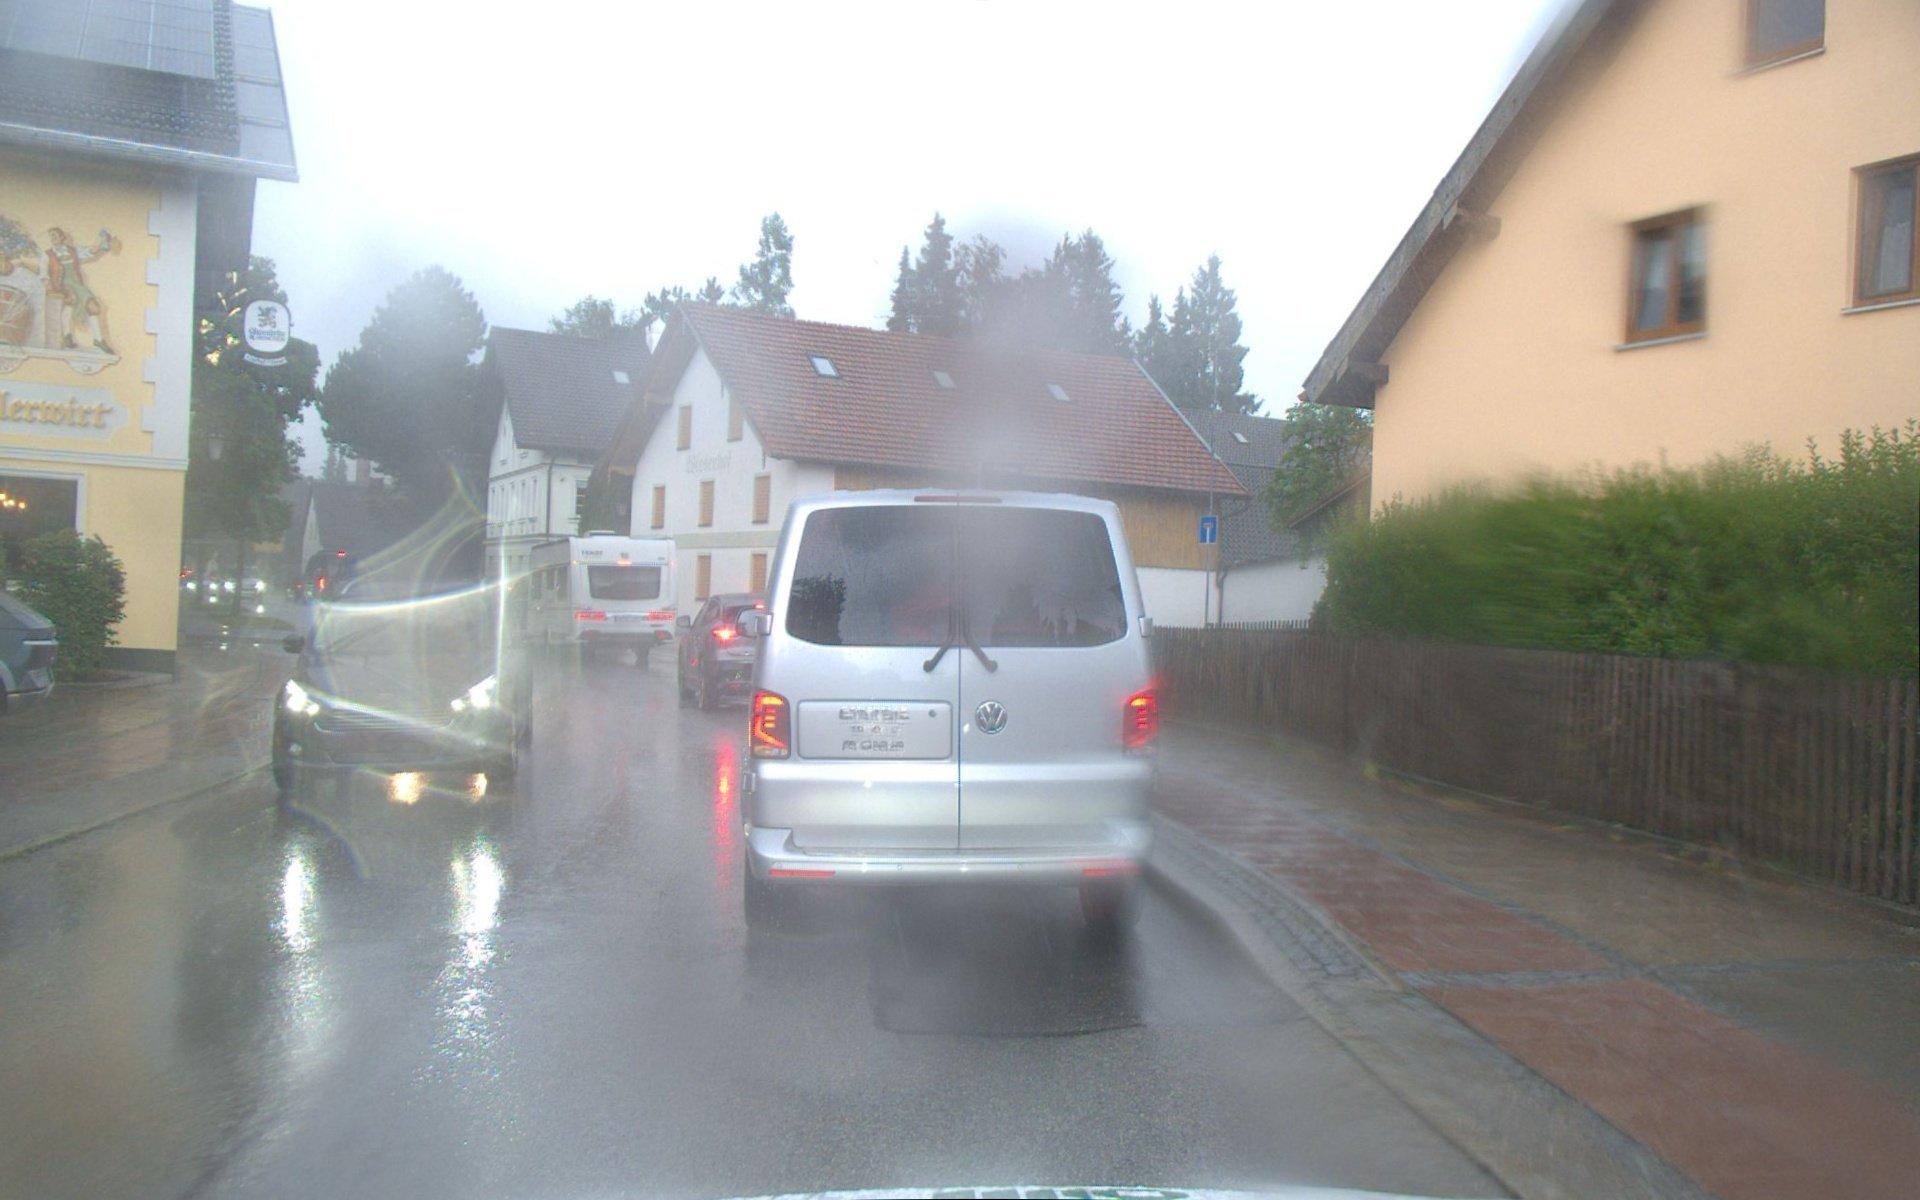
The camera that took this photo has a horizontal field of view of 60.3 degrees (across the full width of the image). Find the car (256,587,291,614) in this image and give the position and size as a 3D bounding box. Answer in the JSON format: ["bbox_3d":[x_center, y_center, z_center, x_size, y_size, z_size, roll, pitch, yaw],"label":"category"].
[{"bbox_3d":[-54.916,0.035,132.252,2.143,1.932,4.972,3,0,-26],"label":"car"}]

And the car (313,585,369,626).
[{"bbox_3d":[-32.005,0.253,85.479,2.143,1.932,4.972,3,0,-26],"label":"car"}]

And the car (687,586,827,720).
[{"bbox_3d":[-2.928,0.639,23.133,1.677,1.611,4.674,-1,1,-10],"label":"car"}]

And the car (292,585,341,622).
[{"bbox_3d":[-36.921,0.168,94.857,2.143,1.932,4.972,3,0,-26],"label":"car"}]

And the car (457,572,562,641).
[{"bbox_3d":[-13.950,0.200,51.010,2.143,1.932,4.971,3,-1,-26],"label":"car"}]

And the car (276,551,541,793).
[{"bbox_3d":[-4.798,0.520,14.435,1.893,1.775,4.169,0,0,-19],"label":"car"}]

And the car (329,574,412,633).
[{"bbox_3d":[-17.048,0.109,47.781,1.571,1.638,3.500,1,0,-32],"label":"car"}]

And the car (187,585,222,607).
[{"bbox_3d":[-50.338,-0.295,110.199,1.841,1.382,4.442,0,1,-28],"label":"car"}]

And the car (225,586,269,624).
[{"bbox_3d":[-38.284,0.283,88.765,1.829,2.006,4.659,0,0,-28],"label":"car"}]

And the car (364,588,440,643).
[{"bbox_3d":[-21.978,0.580,65.031,2.143,1.932,4.972,3,0,-26],"label":"car"}]

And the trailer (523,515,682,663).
[{"bbox_3d":[-7.998,-0.220,36.491,2.241,2.955,6.086,1,0,-24],"label":"trailer"}]

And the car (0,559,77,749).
[{"bbox_3d":[-10.344,0.315,14.545,4.426,1.594,1.822,5,0,-29],"label":"car"}]

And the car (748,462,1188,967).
[{"bbox_3d":[0.032,0.460,9.114,1.740,1.997,5.074,0,0,0],"label":"car"}]

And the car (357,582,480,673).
[{"bbox_3d":[-10.883,0.524,33.090,1.733,1.707,3.964,0,0,-28],"label":"car"}]
